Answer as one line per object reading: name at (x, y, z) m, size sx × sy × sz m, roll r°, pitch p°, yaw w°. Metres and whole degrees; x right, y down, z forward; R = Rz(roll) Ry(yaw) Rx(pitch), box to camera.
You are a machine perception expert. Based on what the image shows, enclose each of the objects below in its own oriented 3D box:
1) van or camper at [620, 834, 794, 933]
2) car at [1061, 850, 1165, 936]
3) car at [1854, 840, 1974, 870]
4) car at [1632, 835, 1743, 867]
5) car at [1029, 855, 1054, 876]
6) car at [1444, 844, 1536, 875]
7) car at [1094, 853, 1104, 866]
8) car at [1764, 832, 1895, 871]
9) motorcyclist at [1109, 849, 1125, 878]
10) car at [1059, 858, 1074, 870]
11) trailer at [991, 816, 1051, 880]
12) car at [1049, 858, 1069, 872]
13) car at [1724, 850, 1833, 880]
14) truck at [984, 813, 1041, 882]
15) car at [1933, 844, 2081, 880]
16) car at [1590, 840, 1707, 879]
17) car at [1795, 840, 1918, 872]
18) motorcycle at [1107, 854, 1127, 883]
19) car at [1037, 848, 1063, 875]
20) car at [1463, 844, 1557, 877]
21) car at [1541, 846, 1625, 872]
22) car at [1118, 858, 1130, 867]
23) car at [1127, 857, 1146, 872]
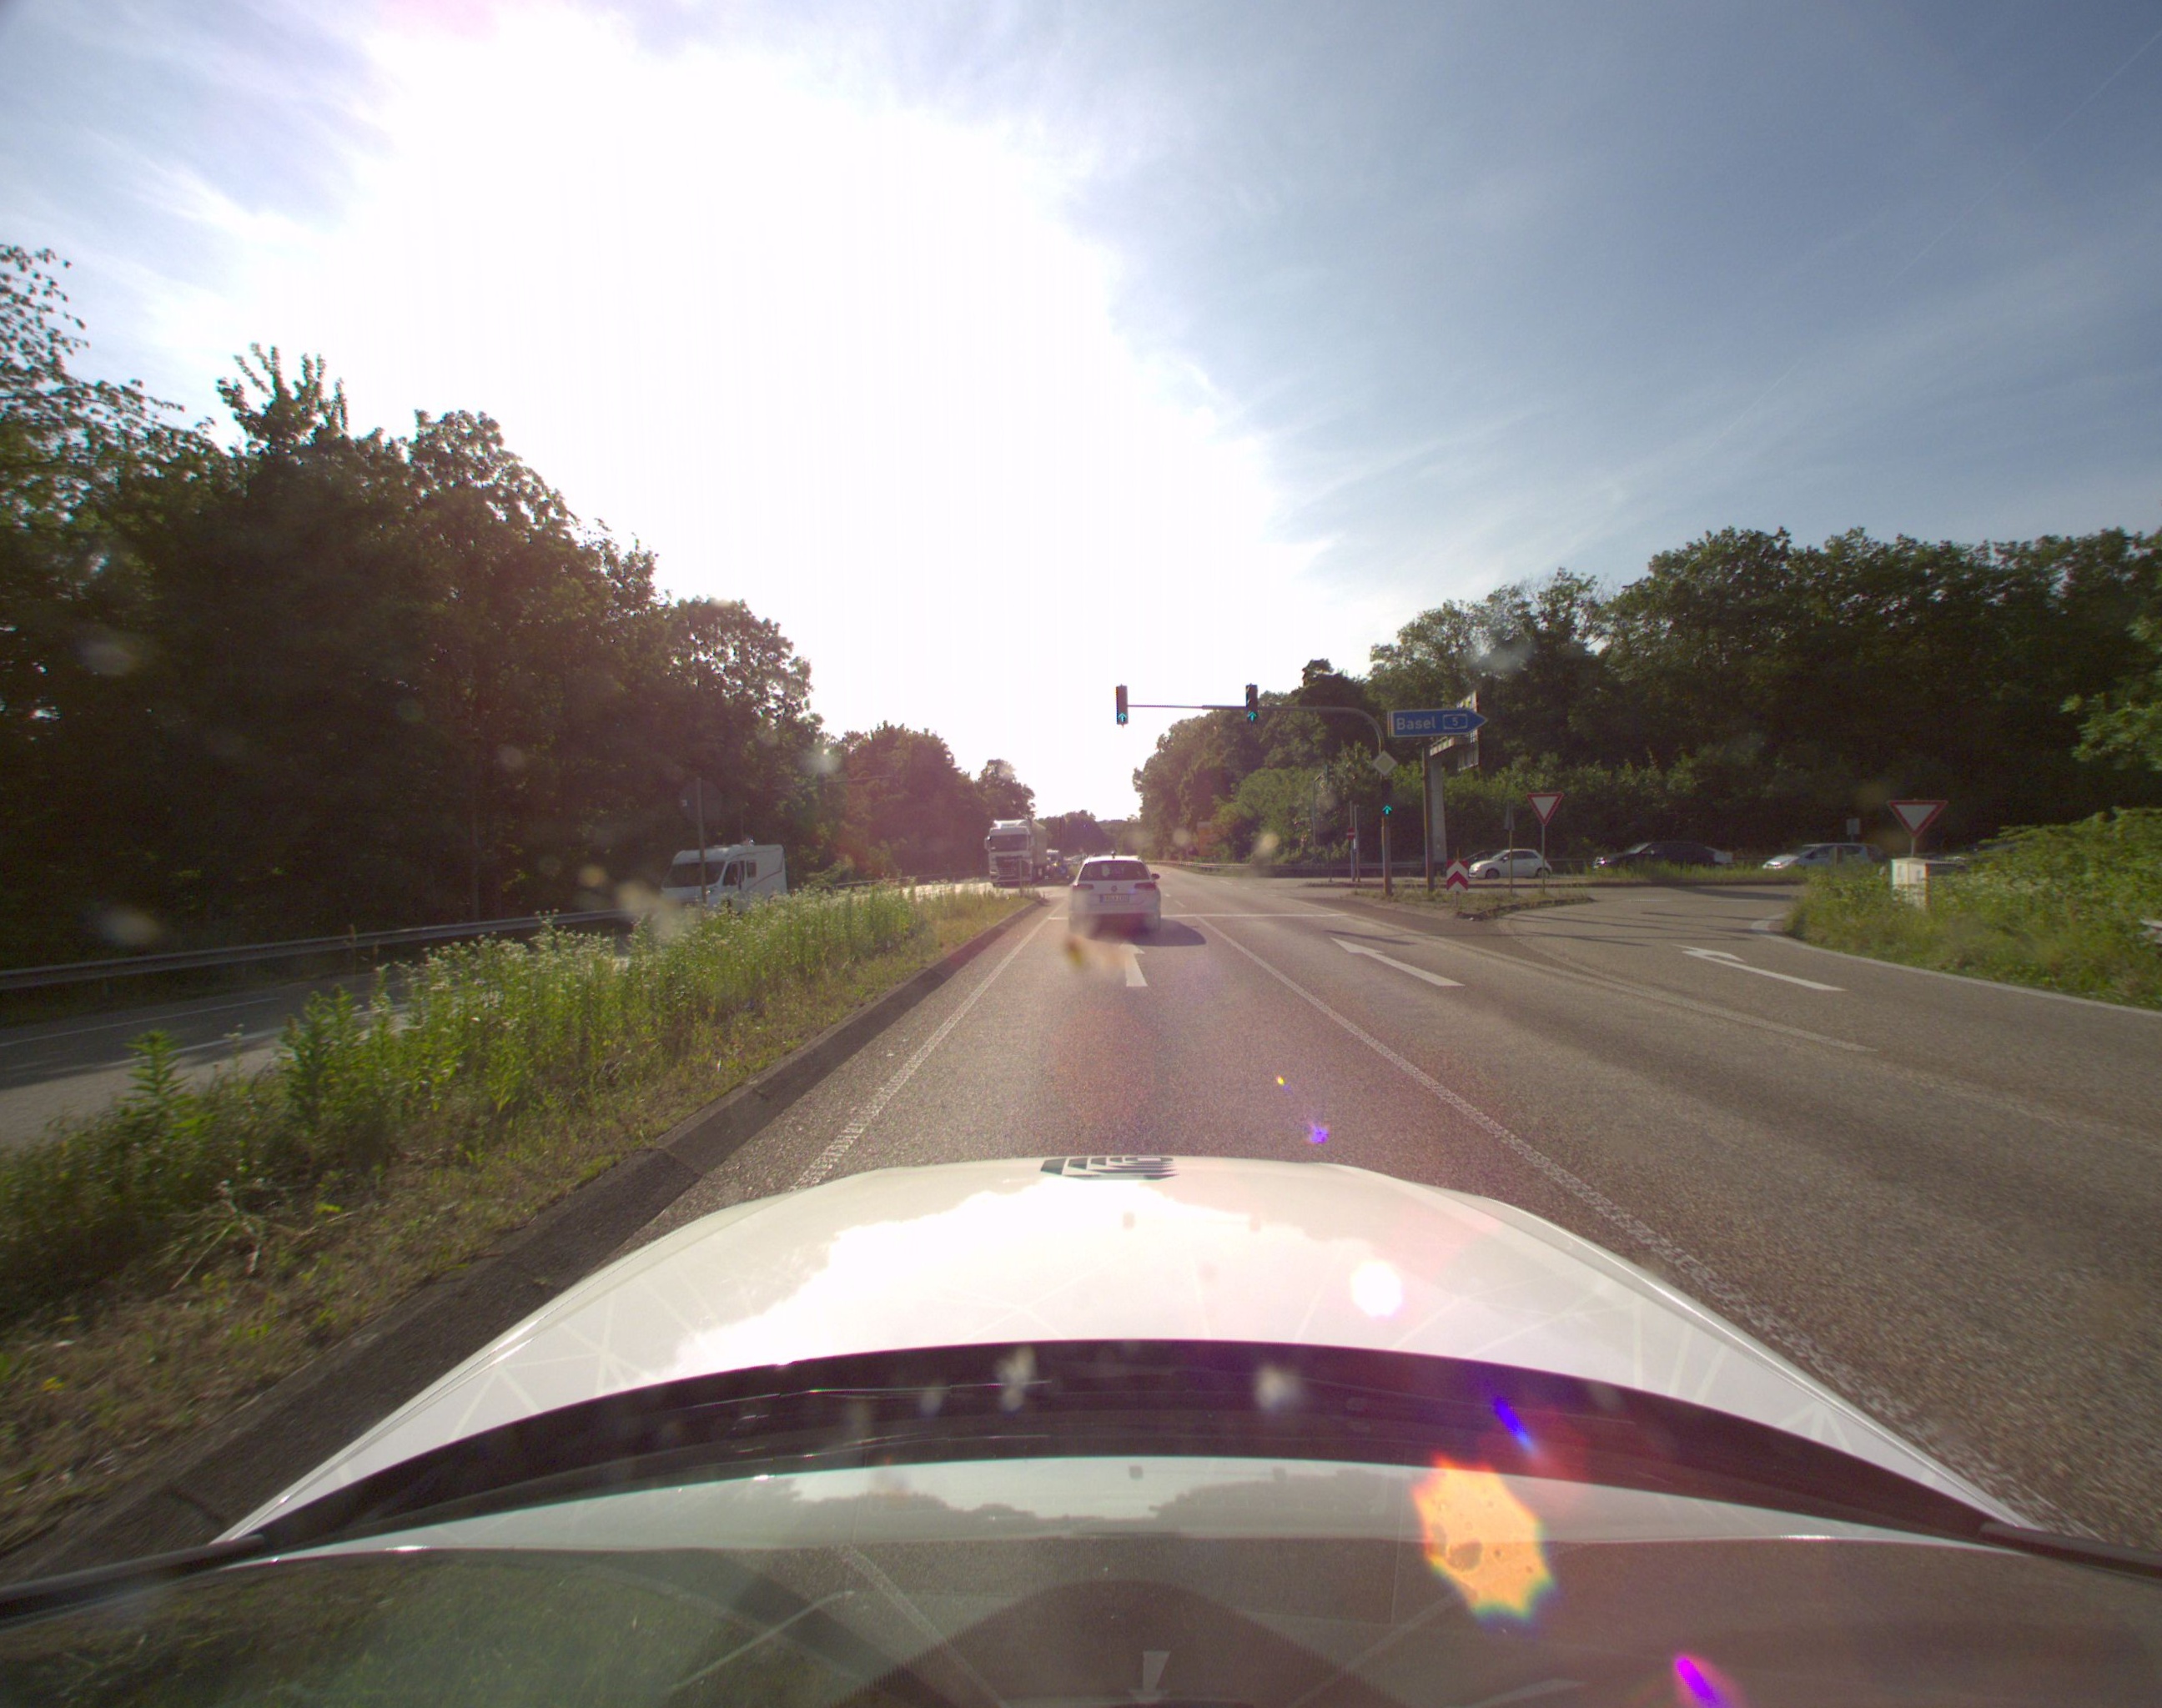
van or camper at (-12.077, 0.867, 27.030) m, size 2.404 × 2.710 × 6.440 m, roll -5°, pitch 0°, yaw 2°
car at (0.666, 0.717, 17.325) m, size 1.863 × 1.521 × 4.836 m, roll -1°, pitch 0°, yaw 2°
car at (43.191, 0.033, 42.298) m, size 4.089 × 1.441 × 1.873 m, roll -1°, pitch 0°, yaw 6°
car at (30.377, -0.158, 40.876) m, size 4.089 × 1.496 × 1.873 m, roll -1°, pitch 0°, yaw 6°
car at (-3.230, 0.926, 67.622) m, size 1.694 × 1.631 × 4.371 m, roll -3°, pitch 0°, yaw 0°
car at (21.441, 0.286, 42.859) m, size 4.078 × 1.496 × 1.793 m, roll -1°, pitch 0°, yaw 16°
car at (4.167, 1.251, 187.146) m, size 2.201 × 2.888 × 7.014 m, roll -3°, pitch 0°, yaw 2°
car at (33.894, -0.115, 36.965) m, size 4.089 × 1.632 × 1.873 m, roll -1°, pitch 0°, yaw 6°
motorcyclist at (2.023, 0.531, 45.613) m, size 0.880 × 1.616 × 1.291 m, roll -1°, pitch 0°, yaw 4°
car at (-1.998, 1.367, 113.549) m, size 1.764 × 1.423 × 5.195 m, roll -3°, pitch 0°, yaw 2°
trailer at (-4.045, -0.365, 57.965) m, size 2.981 × 3.996 × 14.015 m, roll -1°, pitch 0°, yaw 1°
car at (-2.443, 1.182, 91.448) m, size 1.753 × 1.456 × 5.188 m, roll -3°, pitch 0°, yaw 2°
car at (37.097, 0.574, 43.412) m, size 4.089 × 1.441 × 1.873 m, roll -1°, pitch 0°, yaw 6°
truck at (-4.156, -0.370, 50.566) m, size 2.881 × 3.997 × 6.721 m, roll -1°, pitch 0°, yaw 0°
car at (40.434, 0.339, 35.646) m, size 4.089 × 1.441 × 1.873 m, roll -1°, pitch 0°, yaw 6°
car at (26.395, 0.243, 38.024) m, size 4.089 × 1.708 × 1.873 m, roll -1°, pitch 0°, yaw 6°
car at (37.862, 0.088, 39.855) m, size 4.089 × 1.441 × 1.873 m, roll -1°, pitch 0°, yaw 6°
motorcycle at (2.029, 0.789, 45.497) m, size 0.905 × 1.453 × 2.692 m, roll -5°, pitch 0°, yaw 4°
car at (-3.111, 0.718, 83.439) m, size 2.067 × 2.533 × 6.166 m, roll -3°, pitch 0°, yaw 2°
car at (20.512, 0.299, 39.077) m, size 3.579 × 1.503 × 1.812 m, roll -1°, pitch 0°, yaw 6°
car at (27.247, 0.243, 44.277) m, size 3.607 × 1.313 × 1.494 m, roll -1°, pitch 0°, yaw 6°
car at (7.801, 1.466, 147.235) m, size 1.740 × 1.537 × 3.922 m, roll -1°, pitch 0°, yaw -2°
car at (5.567, 1.031, 82.035) m, size 1.754 × 1.380 × 3.974 m, roll -1°, pitch 0°, yaw 3°
